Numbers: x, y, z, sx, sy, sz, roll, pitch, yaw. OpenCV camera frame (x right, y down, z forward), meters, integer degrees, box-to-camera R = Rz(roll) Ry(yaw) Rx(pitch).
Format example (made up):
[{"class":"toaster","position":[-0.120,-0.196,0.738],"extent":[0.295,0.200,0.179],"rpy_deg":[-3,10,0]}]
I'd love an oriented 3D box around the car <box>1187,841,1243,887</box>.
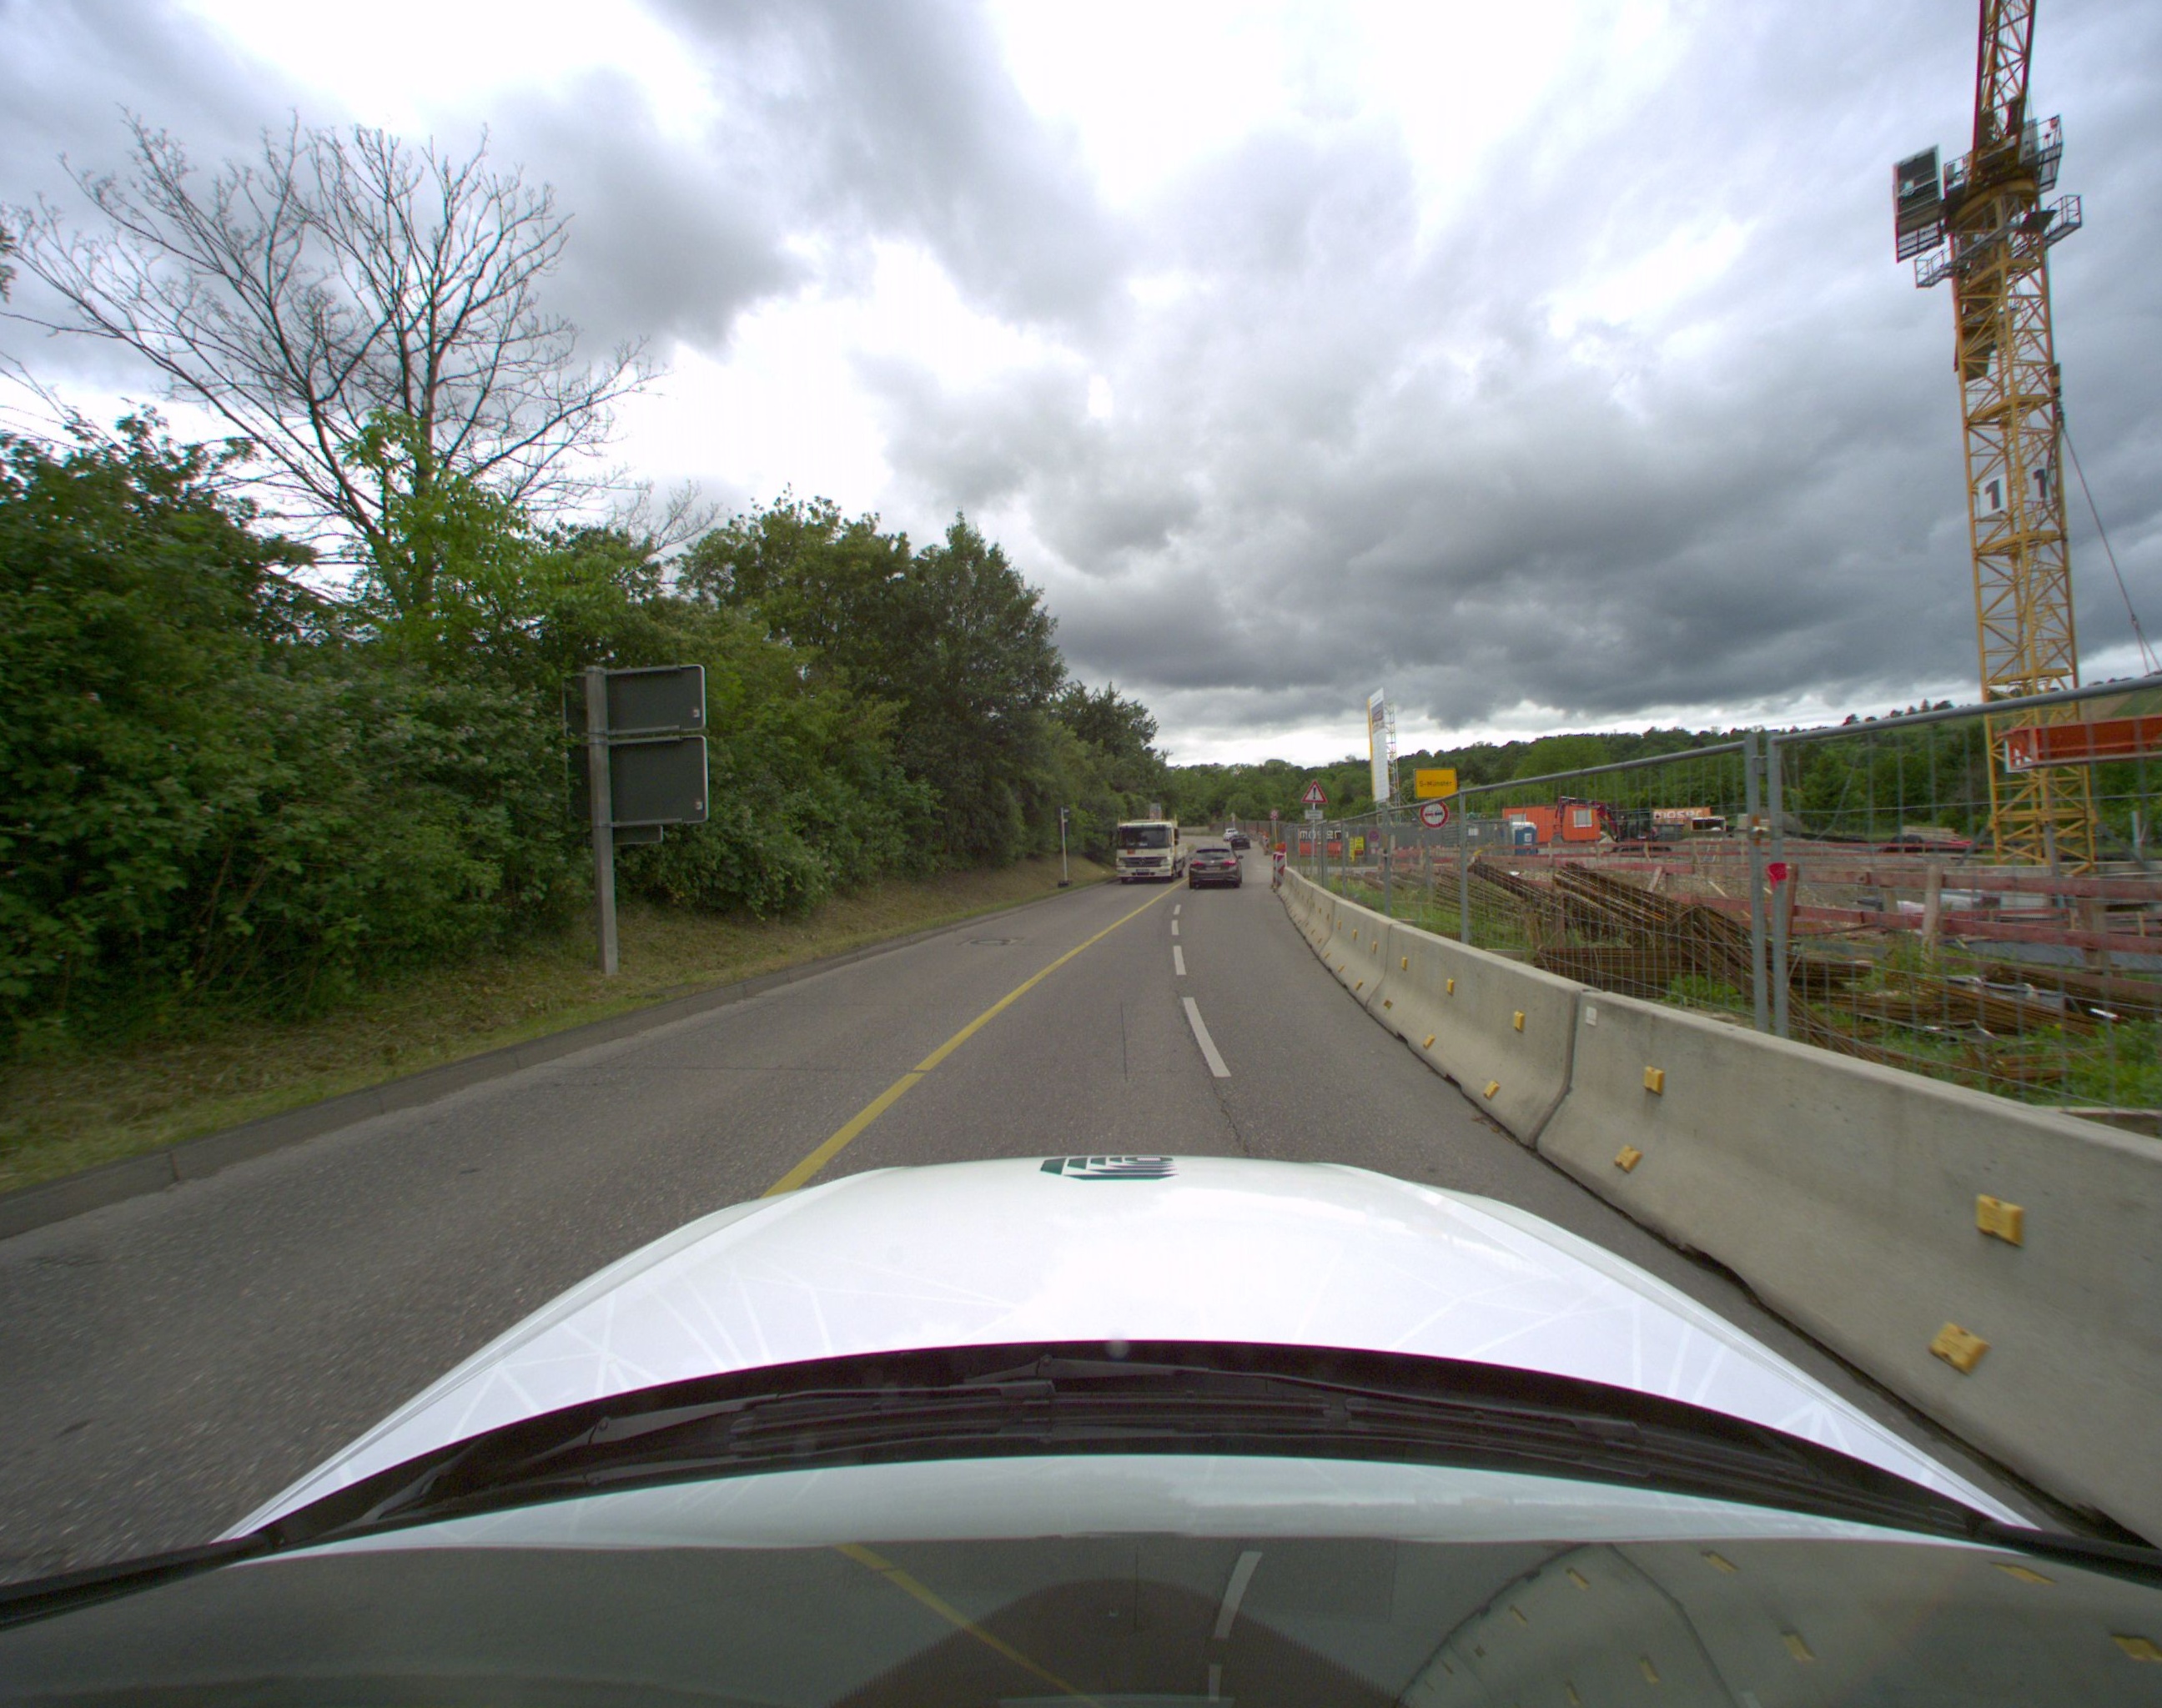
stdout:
[{"class":"car","position":[5.004,0.327,30.007],"extent":[1.785,1.552,4.014],"rpy_deg":[-1,1,12]}]

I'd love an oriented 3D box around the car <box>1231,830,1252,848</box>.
[{"class":"car","position":[14.827,-1.368,75.129],"extent":[1.807,1.552,3.802],"rpy_deg":[-1,0,13]}]

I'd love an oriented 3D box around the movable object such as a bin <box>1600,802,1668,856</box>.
[{"class":"movable object such as a bin","position":[33.472,-1.472,49.347],"extent":[2.774,3.077,1.846],"rpy_deg":[-3,-1,10]}]

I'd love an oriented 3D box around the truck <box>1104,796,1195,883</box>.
[{"class":"truck","position":[3.304,-0.696,36.622],"extent":[2.801,3.335,8.410],"rpy_deg":[-3,1,12]}]

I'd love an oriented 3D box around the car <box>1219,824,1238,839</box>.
[{"class":"car","position":[18.155,-2.732,100.127],"extent":[1.705,1.675,4.002],"rpy_deg":[-3,-1,3]}]
